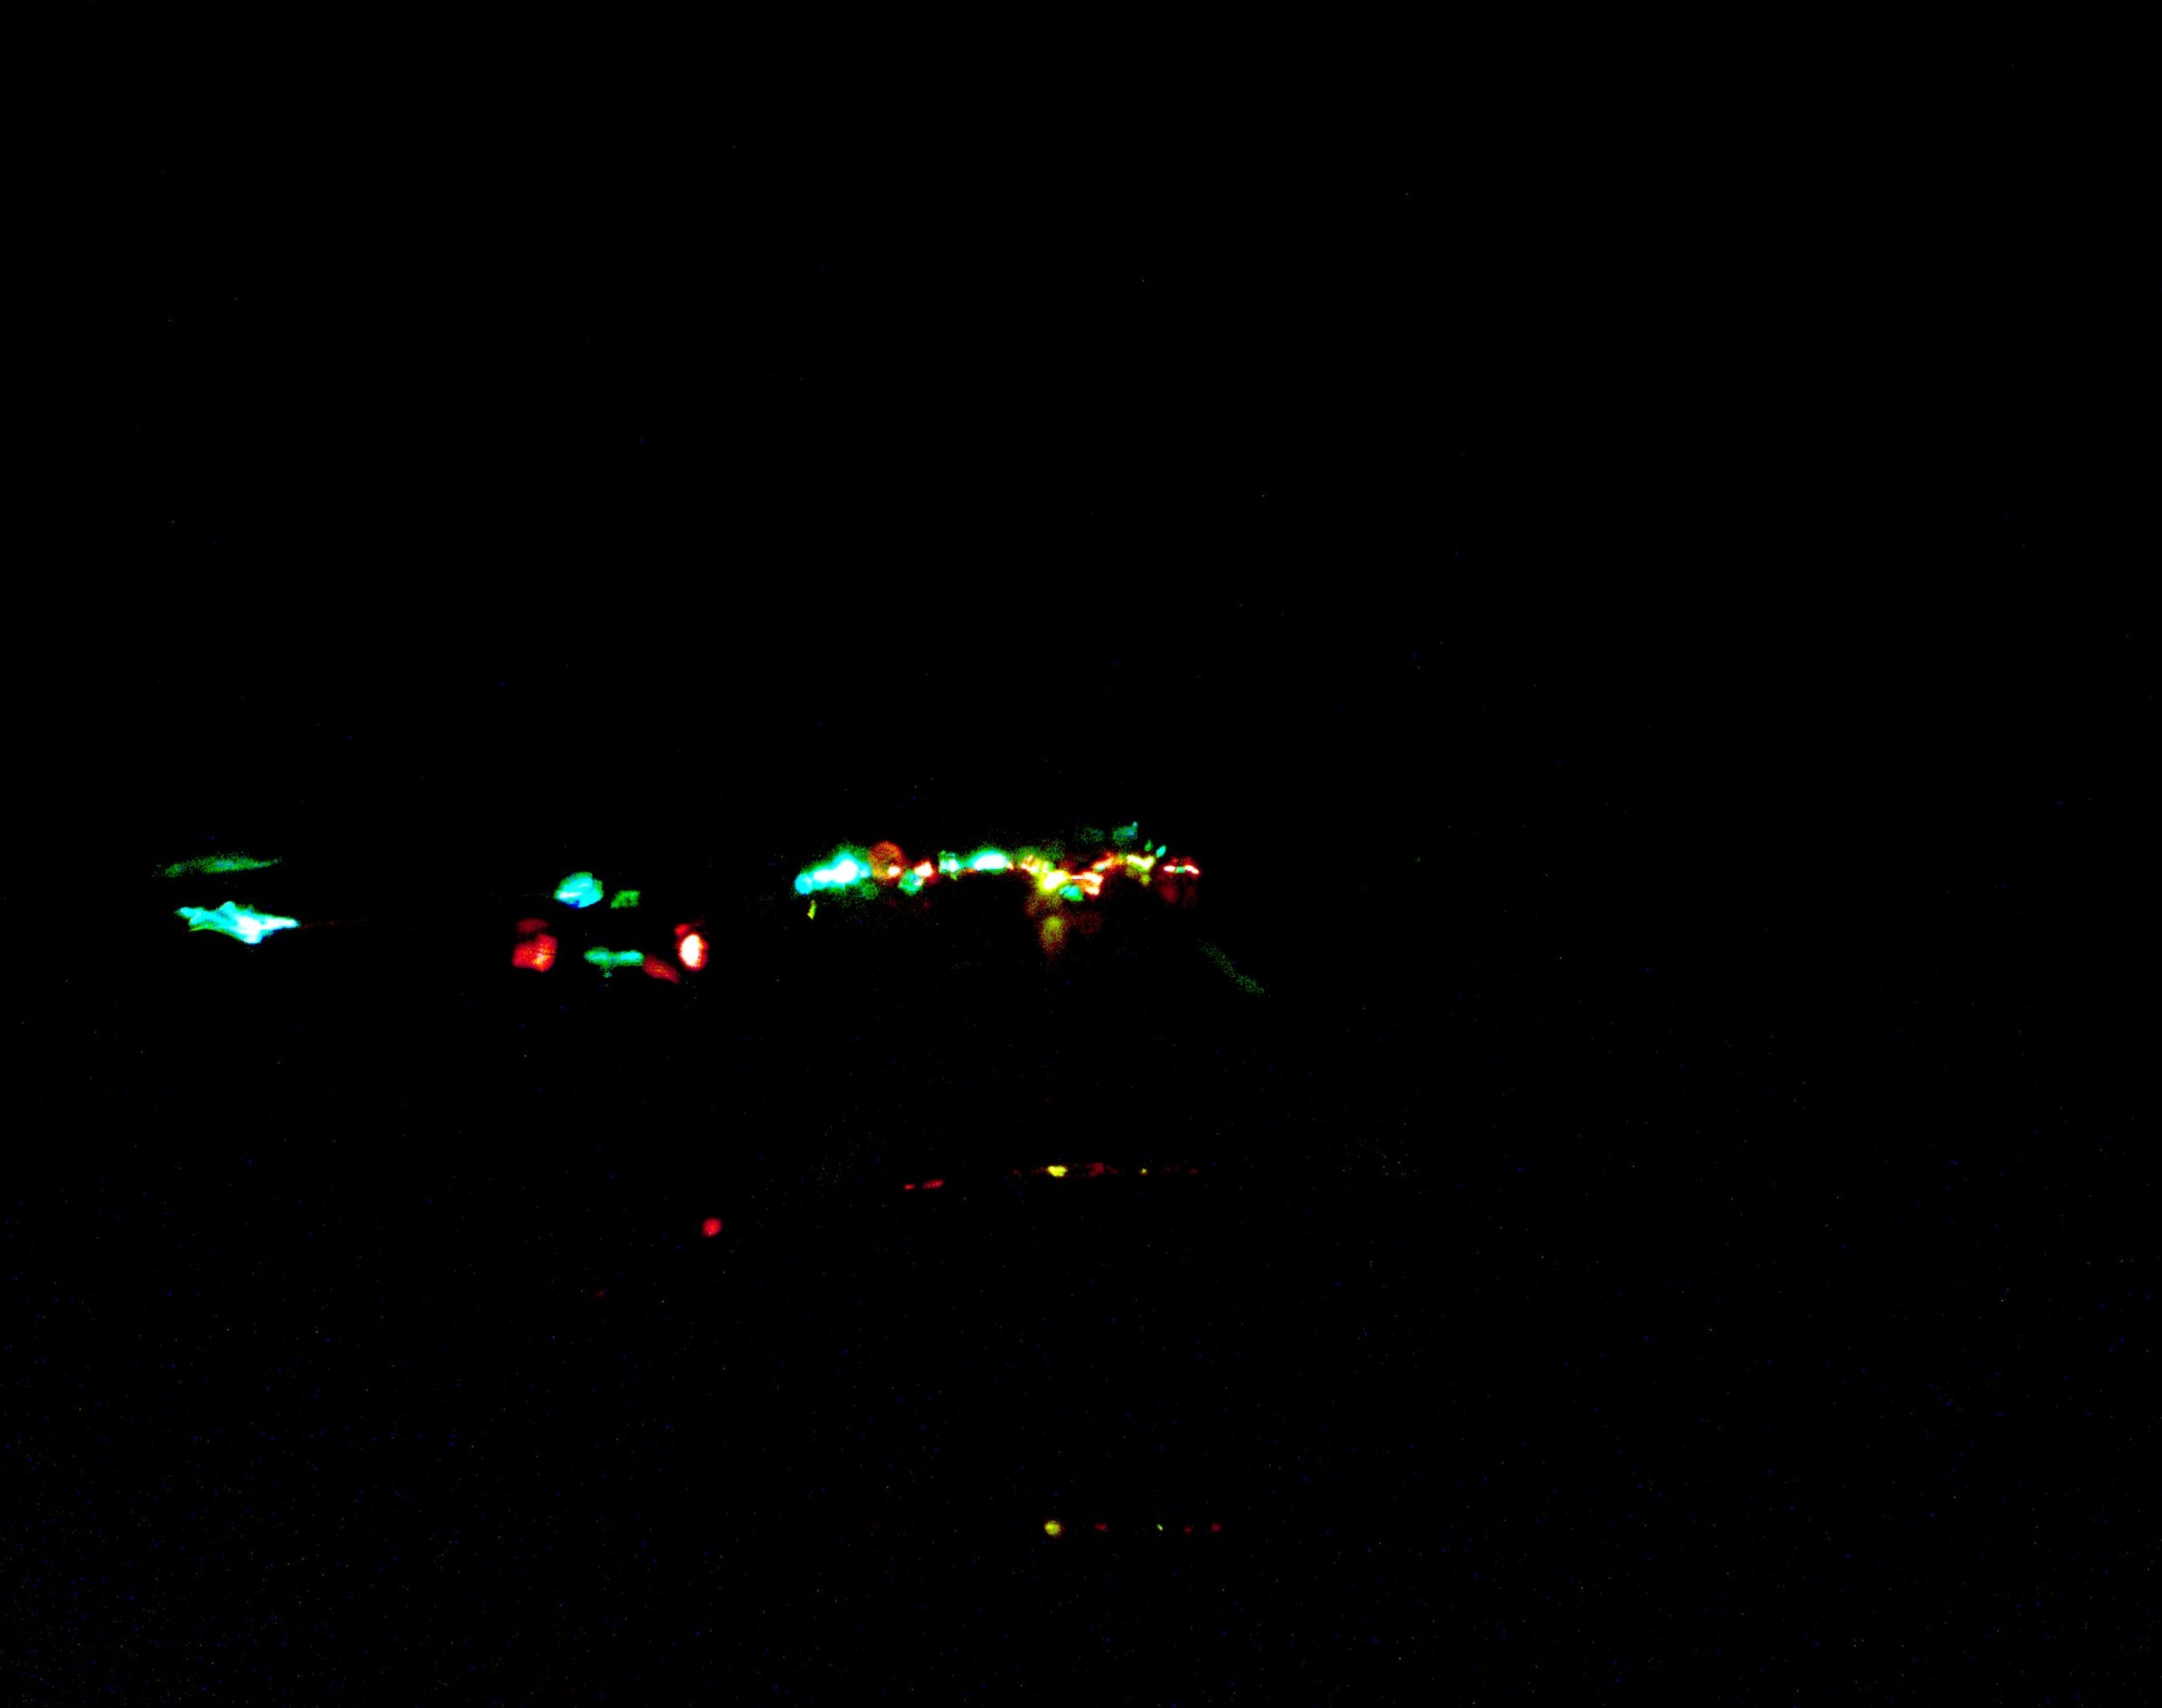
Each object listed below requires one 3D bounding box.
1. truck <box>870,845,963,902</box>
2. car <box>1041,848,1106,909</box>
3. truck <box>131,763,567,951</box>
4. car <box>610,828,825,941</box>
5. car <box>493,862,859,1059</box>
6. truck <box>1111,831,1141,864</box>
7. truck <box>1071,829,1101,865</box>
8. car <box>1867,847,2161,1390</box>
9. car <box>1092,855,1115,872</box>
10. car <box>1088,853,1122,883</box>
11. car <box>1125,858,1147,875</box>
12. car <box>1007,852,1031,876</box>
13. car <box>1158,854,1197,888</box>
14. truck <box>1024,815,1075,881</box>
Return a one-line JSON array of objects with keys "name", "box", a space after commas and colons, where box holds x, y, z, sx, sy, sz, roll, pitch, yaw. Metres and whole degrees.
[{"name": "truck", "box": [-6.870, 0.798, 34.820, 2.849, 2.201, 5.856, 0, -1, -1]}, {"name": "car", "box": [-0.152, 0.688, 24.948, 1.758, 1.689, 4.003, -1, 0, 2]}, {"name": "truck", "box": [-30.570, 0.187, 36.597, 3.209, 6.412, 17.315, 0, -1, 3]}, {"name": "car", "box": [-7.741, 0.592, 18.172, 2.115, 2.104, 5.630, -1, 0, 1]}, {"name": "car", "box": [-3.696, 0.838, 8.397, 1.651, 1.431, 4.245, -1, 0, -1]}, {"name": "truck", "box": [7.242, -0.946, 133.226, 4.149, 5.215, 9.949, 0, -1, -1]}, {"name": "truck", "box": [0.859, -0.990, 130.169, 4.236, 5.444, 10.893, 0, -1, 3]}, {"name": "car", "box": [3.732, 0.703, 0.910, 1.763, 1.457, 4.197, -1, 0, 2]}, {"name": "car", "box": [2.913, 1.227, 104.457, 2.822, 2.014, 5.513, 0, -1, 2]}, {"name": "car", "box": [1.487, 0.845, 50.119, 2.031, 1.761, 4.517, 0, -1, 2]}, {"name": "car", "box": [5.542, 1.240, 82.406, 1.986, 1.704, 4.460, 0, -1, 2]}, {"name": "car", "box": [-5.975, 0.956, 78.437, 2.260, 2.273, 5.376, 0, -1, -4]}, {"name": "car", "box": [5.316, 0.932, 45.286, 1.870, 1.762, 4.002, 0, -1, 2]}, {"name": "truck", "box": [-2.438, -0.387, 63.686, 3.647, 4.737, 9.843, 0, -1, -2]}]
